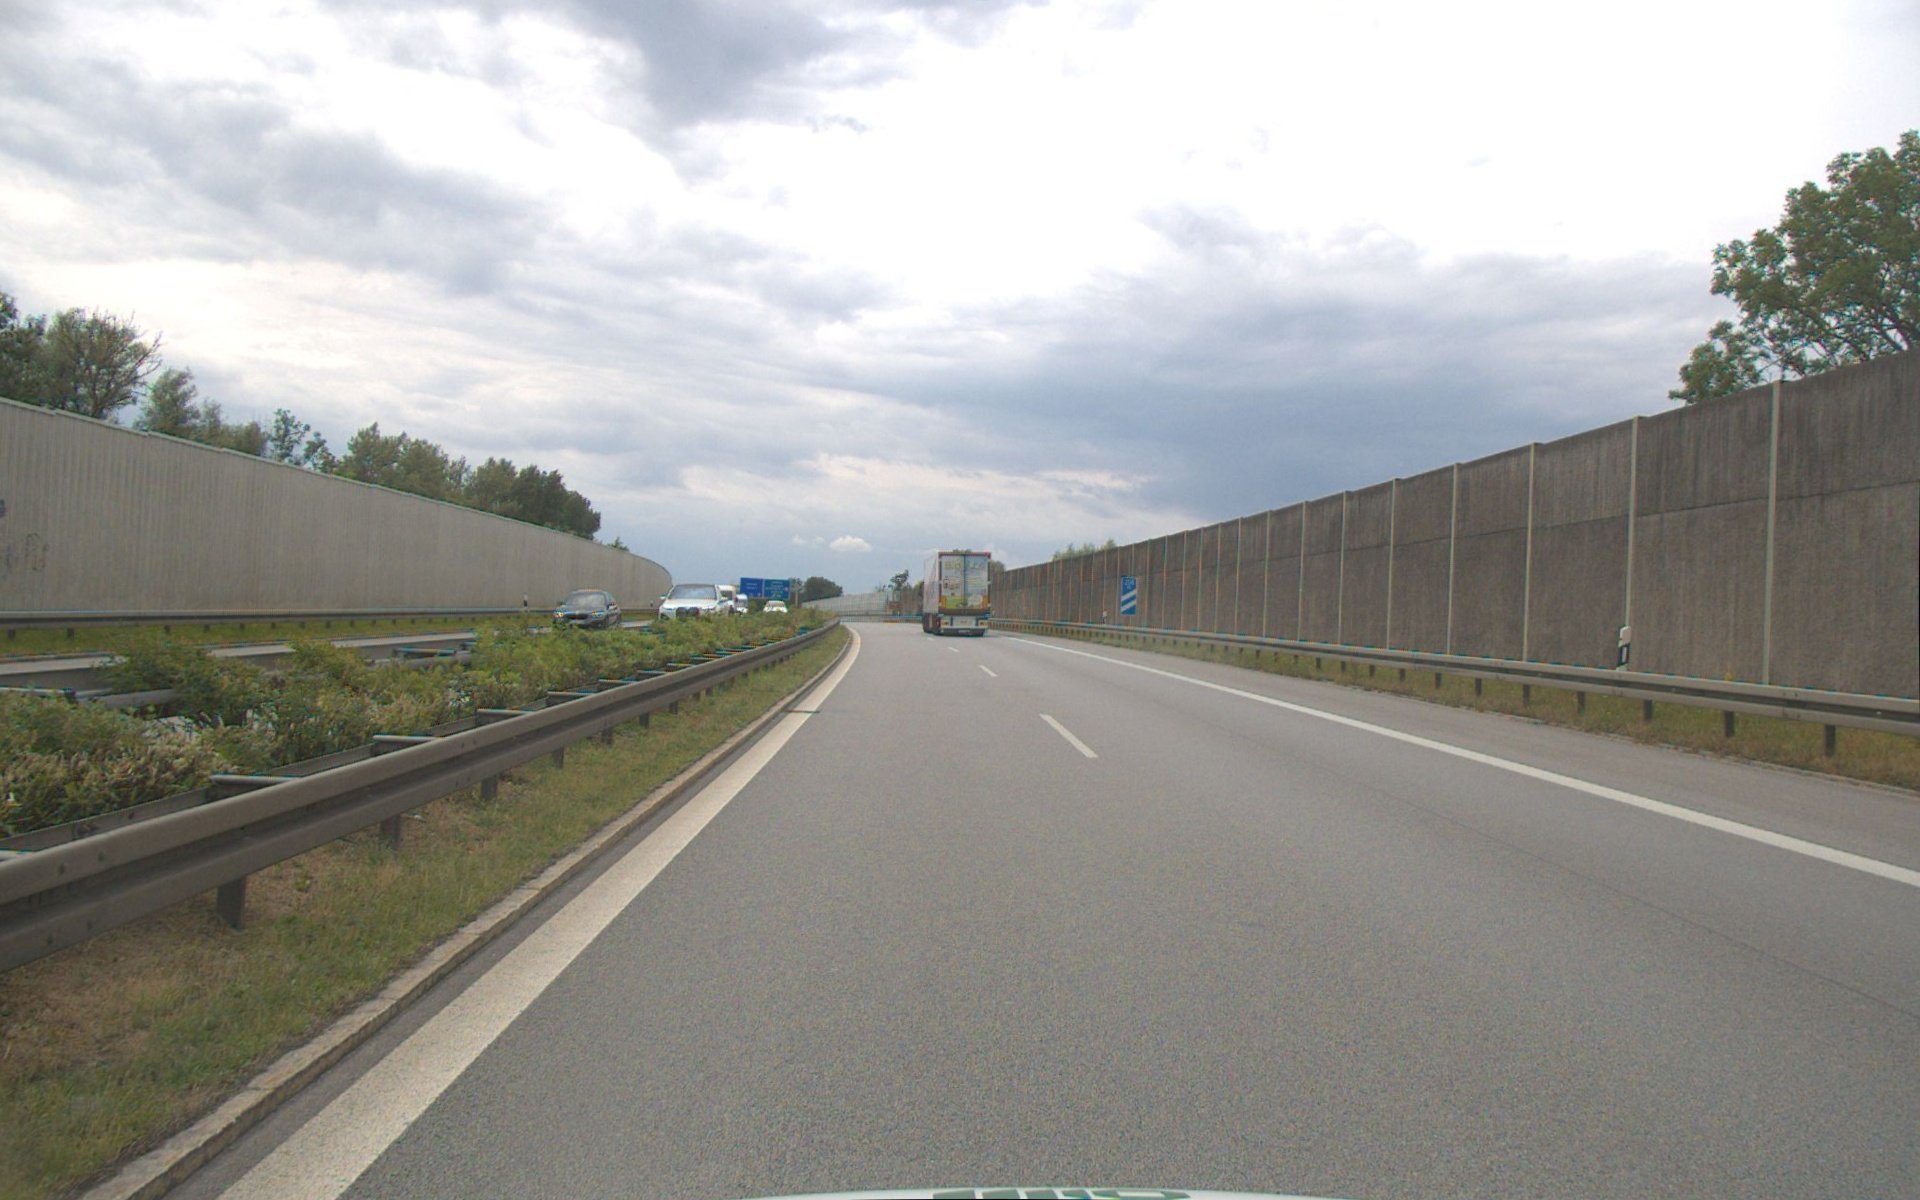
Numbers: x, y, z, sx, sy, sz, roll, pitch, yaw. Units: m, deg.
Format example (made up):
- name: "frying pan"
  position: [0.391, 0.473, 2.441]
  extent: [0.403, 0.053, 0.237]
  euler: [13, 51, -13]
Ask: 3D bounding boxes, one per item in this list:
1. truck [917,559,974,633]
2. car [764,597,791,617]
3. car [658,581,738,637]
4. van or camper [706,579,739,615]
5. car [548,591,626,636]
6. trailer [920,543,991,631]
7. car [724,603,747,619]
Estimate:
- name: "truck"
  position: [-0.866, -0.177, 92.942]
  extent: [2.702, 4.029, 5.670]
  euler: [1, -1, -5]
- name: "car"
  position: [-14.166, 0.545, 128.858]
  extent: [1.769, 1.439, 4.965]
  euler: [1, 0, -3]
- name: "car"
  position: [-8.507, 0.289, 54.075]
  extent: [1.924, 1.699, 4.922]
  euler: [2, 0, -2]
- name: "van or camper"
  position: [-16.898, -0.174, 117.830]
  extent: [1.955, 2.484, 6.302]
  euler: [0, 0, -5]
- name: "car"
  position: [-12.280, 0.436, 54.653]
  extent: [1.687, 1.442, 4.552]
  euler: [0, 0, -2]
- name: "trailer"
  position: [-0.394, -0.543, 86.827]
  extent: [2.737, 4.248, 14.090]
  euler: [1, -1, -4]
- name: "car"
  position: [-20.571, 1.005, 151.679]
  extent: [1.828, 1.427, 4.495]
  euler: [0, 0, -4]
